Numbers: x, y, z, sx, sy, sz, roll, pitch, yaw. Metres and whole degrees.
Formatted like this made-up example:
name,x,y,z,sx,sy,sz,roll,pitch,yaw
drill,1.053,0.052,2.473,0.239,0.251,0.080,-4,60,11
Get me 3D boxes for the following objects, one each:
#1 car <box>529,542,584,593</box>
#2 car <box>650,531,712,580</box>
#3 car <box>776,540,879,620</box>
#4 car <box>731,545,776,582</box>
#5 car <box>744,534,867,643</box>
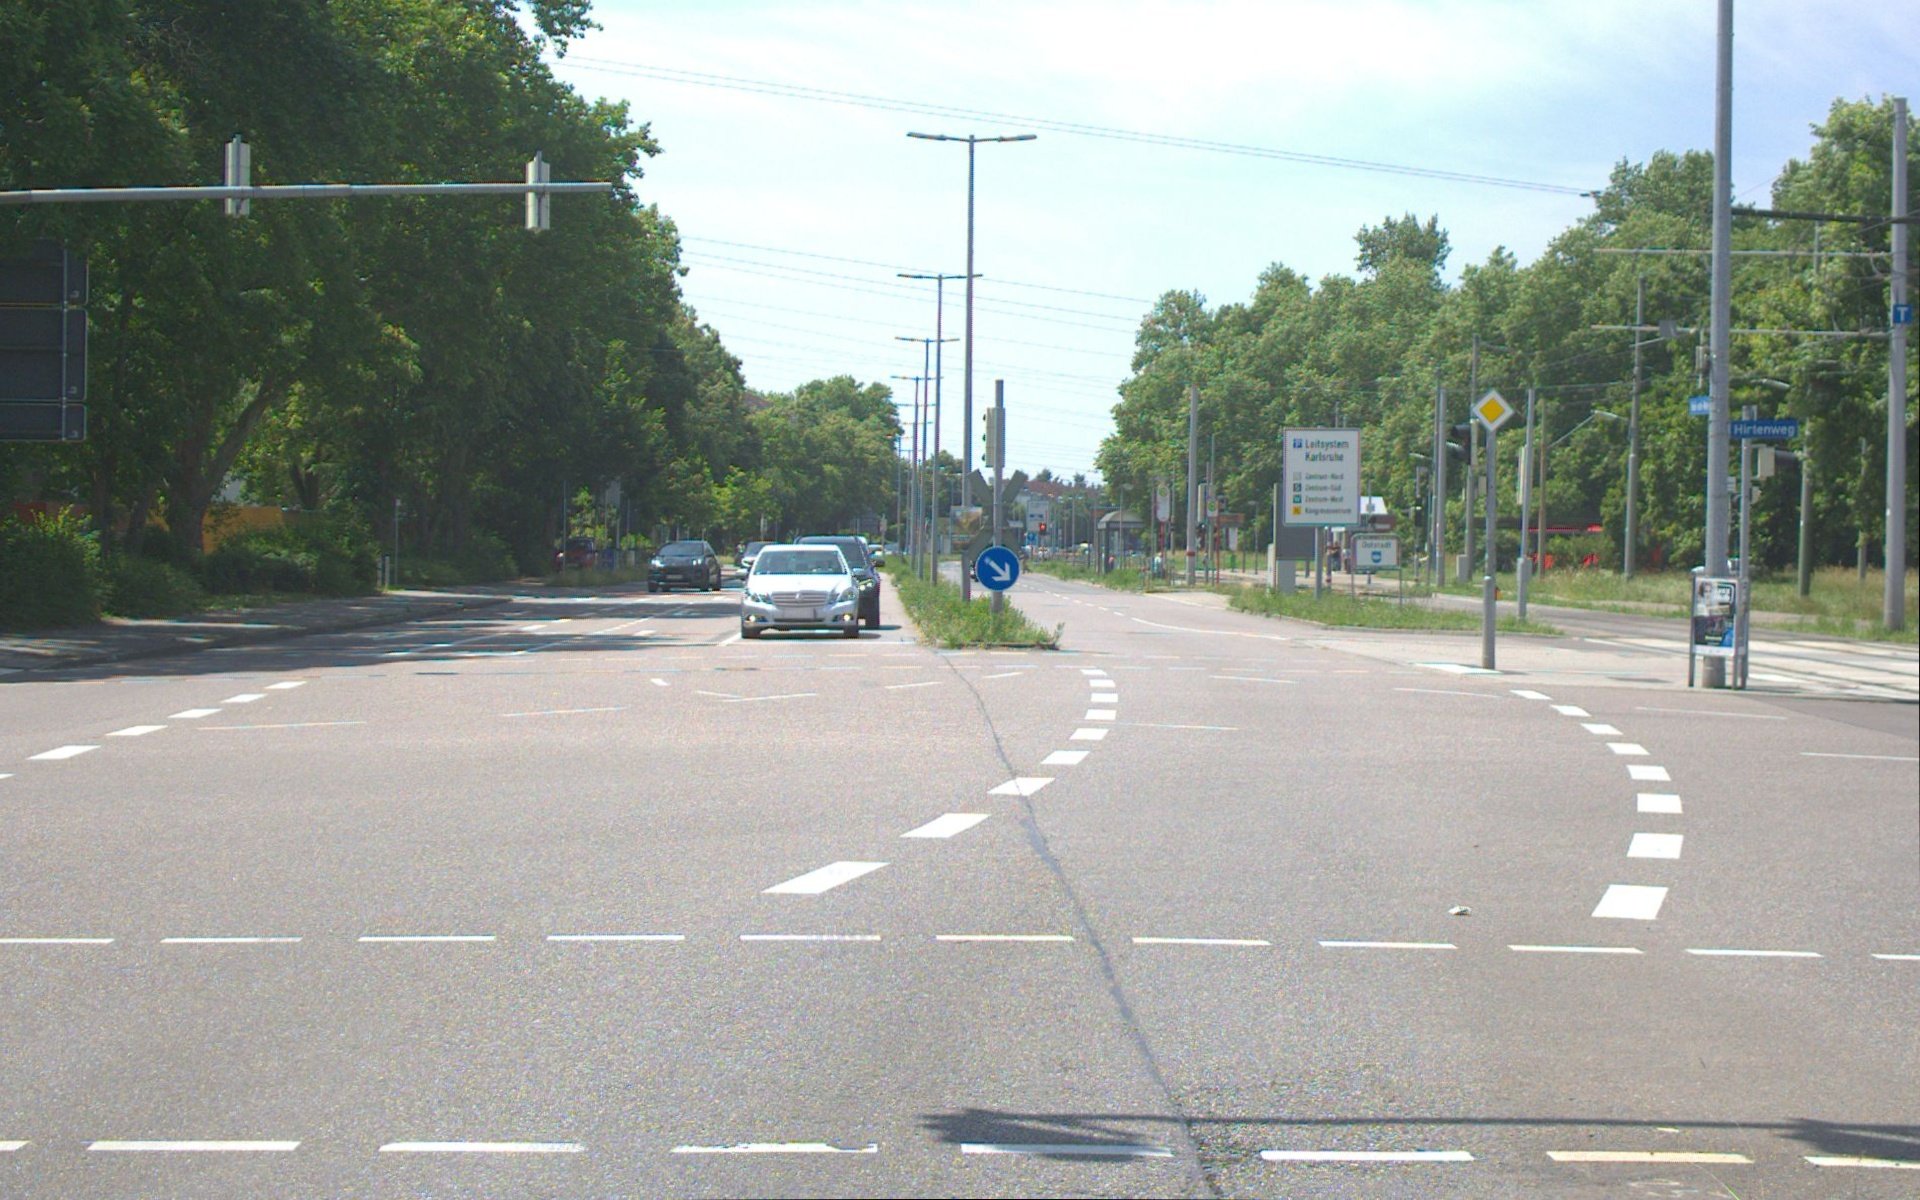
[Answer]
name,x,y,z,sx,sy,sz,roll,pitch,yaw
car,-16.980,-1.364,144.731,1.993,2.007,4.001,4,0,-4
car,-8.761,-1.417,108.088,1.671,1.485,3.711,1,1,-1
car,-2.341,-0.381,61.553,1.710,1.361,3.865,1,1,-1
car,-8.602,-1.543,143.659,1.671,1.485,3.711,1,1,-1
car,-2.406,-0.214,54.208,1.784,1.623,3.865,1,1,-1
